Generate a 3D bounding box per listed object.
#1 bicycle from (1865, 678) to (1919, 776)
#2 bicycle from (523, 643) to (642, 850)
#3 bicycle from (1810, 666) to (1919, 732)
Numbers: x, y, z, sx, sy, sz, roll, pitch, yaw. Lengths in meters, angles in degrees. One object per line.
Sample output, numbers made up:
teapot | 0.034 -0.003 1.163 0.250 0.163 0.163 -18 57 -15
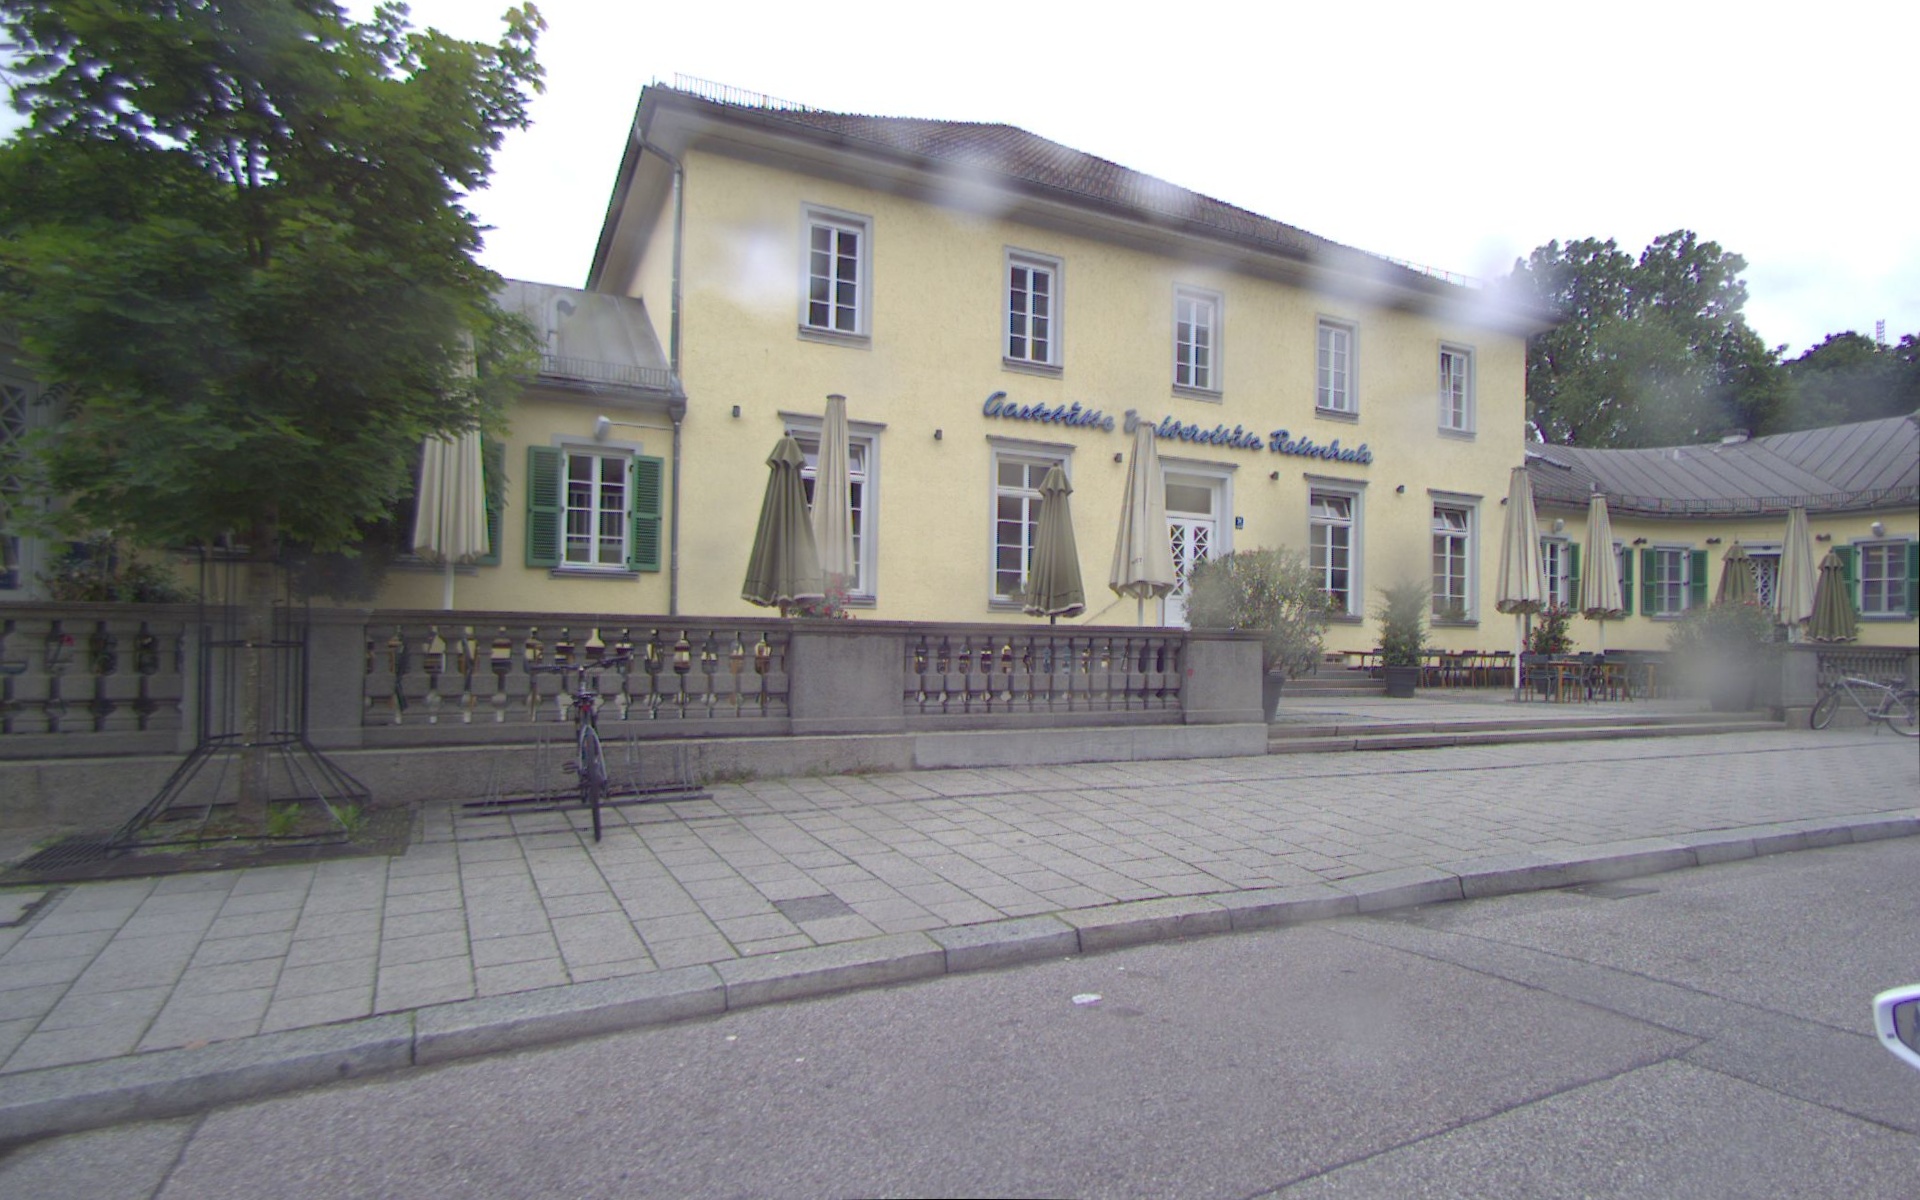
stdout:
bicycle | 11.622 1.466 11.340 2.097 1.018 0.624 2 1 5
bicycle | -2.663 0.914 6.965 0.606 1.114 1.924 2 1 -25
bicycle | 14.228 1.525 15.550 1.593 0.938 0.649 1 -3 38
